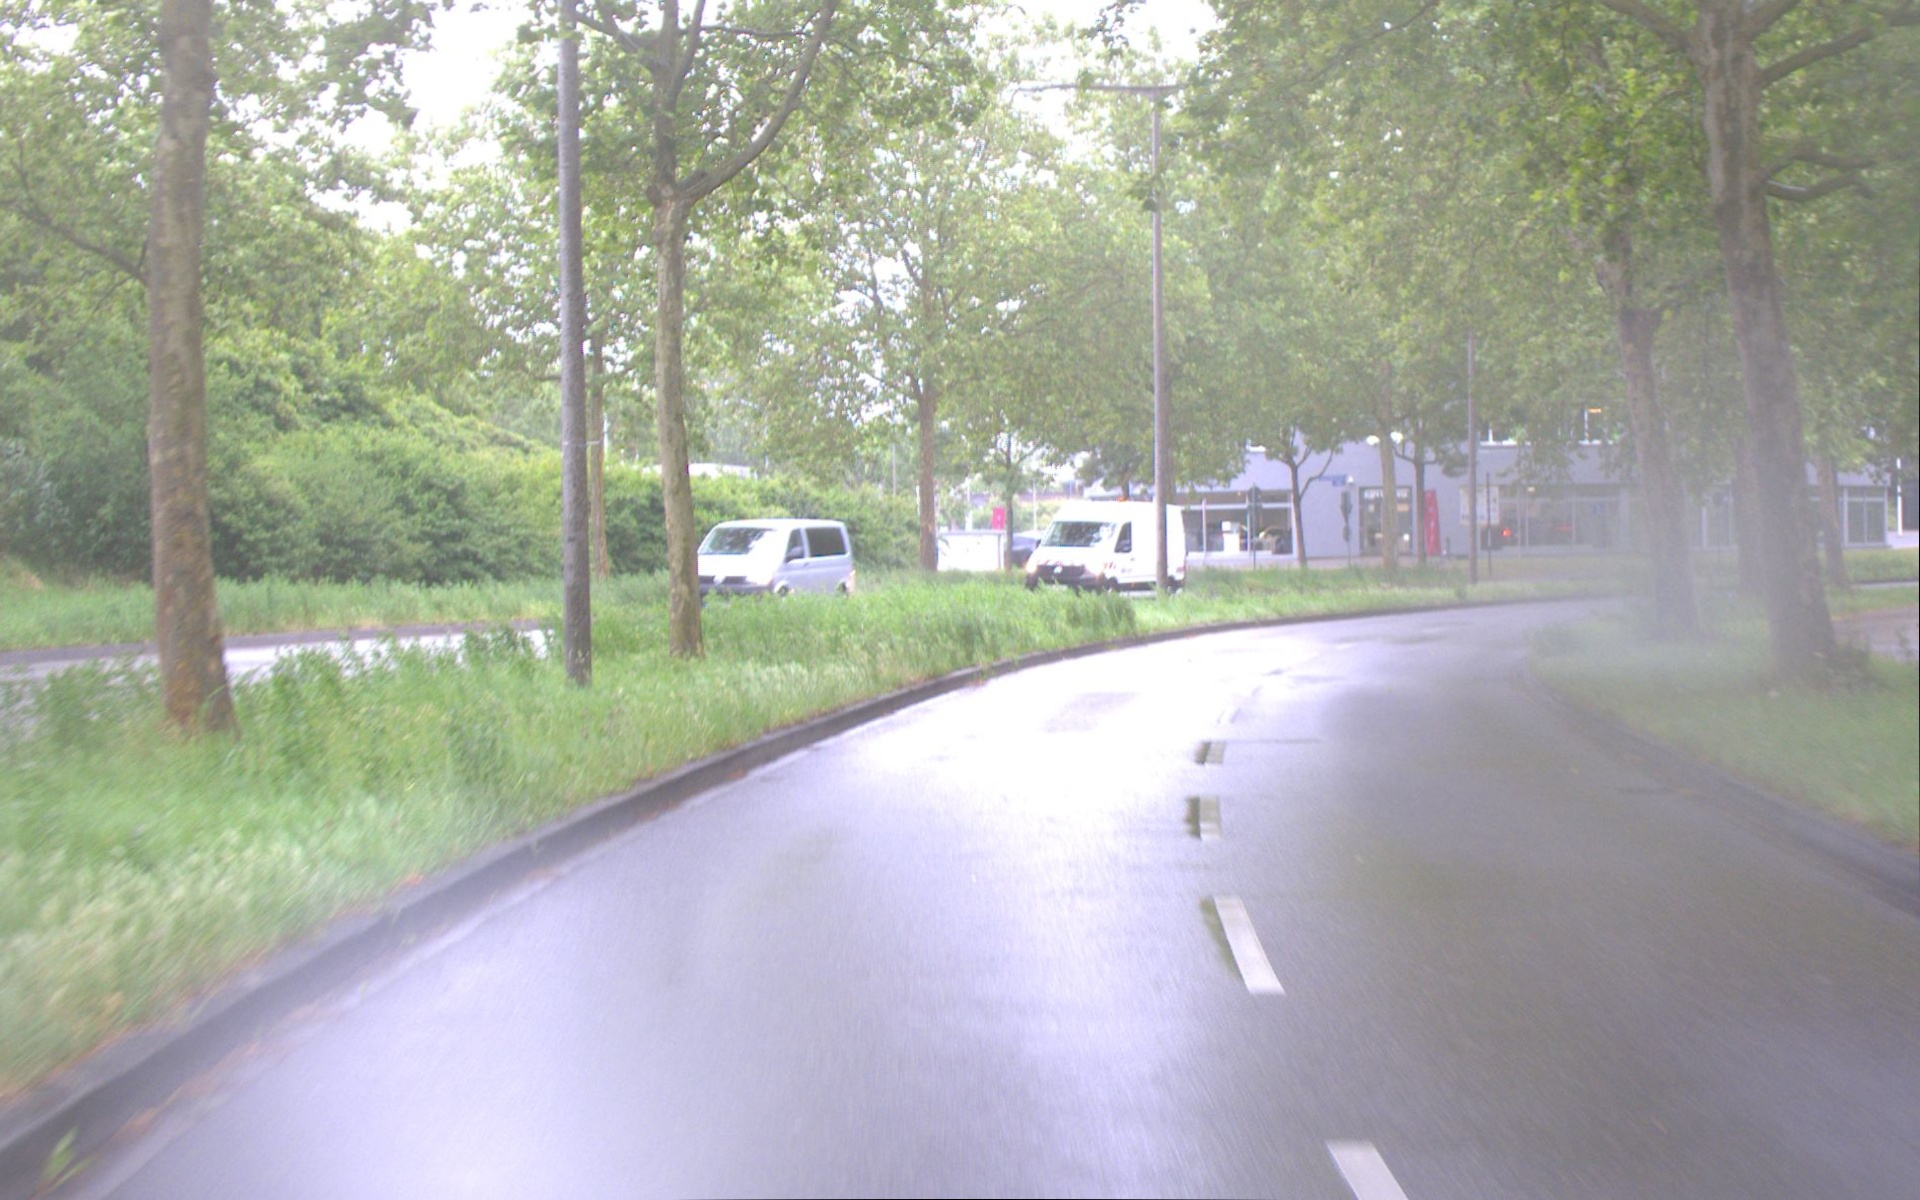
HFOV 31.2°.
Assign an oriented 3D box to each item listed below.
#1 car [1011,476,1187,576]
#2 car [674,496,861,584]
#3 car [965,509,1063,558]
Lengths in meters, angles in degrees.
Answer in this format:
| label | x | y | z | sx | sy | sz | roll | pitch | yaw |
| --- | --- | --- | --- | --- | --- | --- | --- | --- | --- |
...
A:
| label | x | y | z | sx | sy | sz | roll | pitch | yaw |
| --- | --- | --- | --- | --- | --- | --- | --- | --- | --- |
| car | 3.372 | -1.791 | 81.893 | 2.285 | 2.264 | 5.961 | -1 | 1 | 22 |
| car | -3.560 | -1.151 | 64.478 | 1.973 | 1.558 | 4.727 | -1 | 1 | 17 |
| car | 2.358 | -2.903 | 150.517 | 3.986 | 2.007 | 2.000 | -1 | 0 | -7 |
